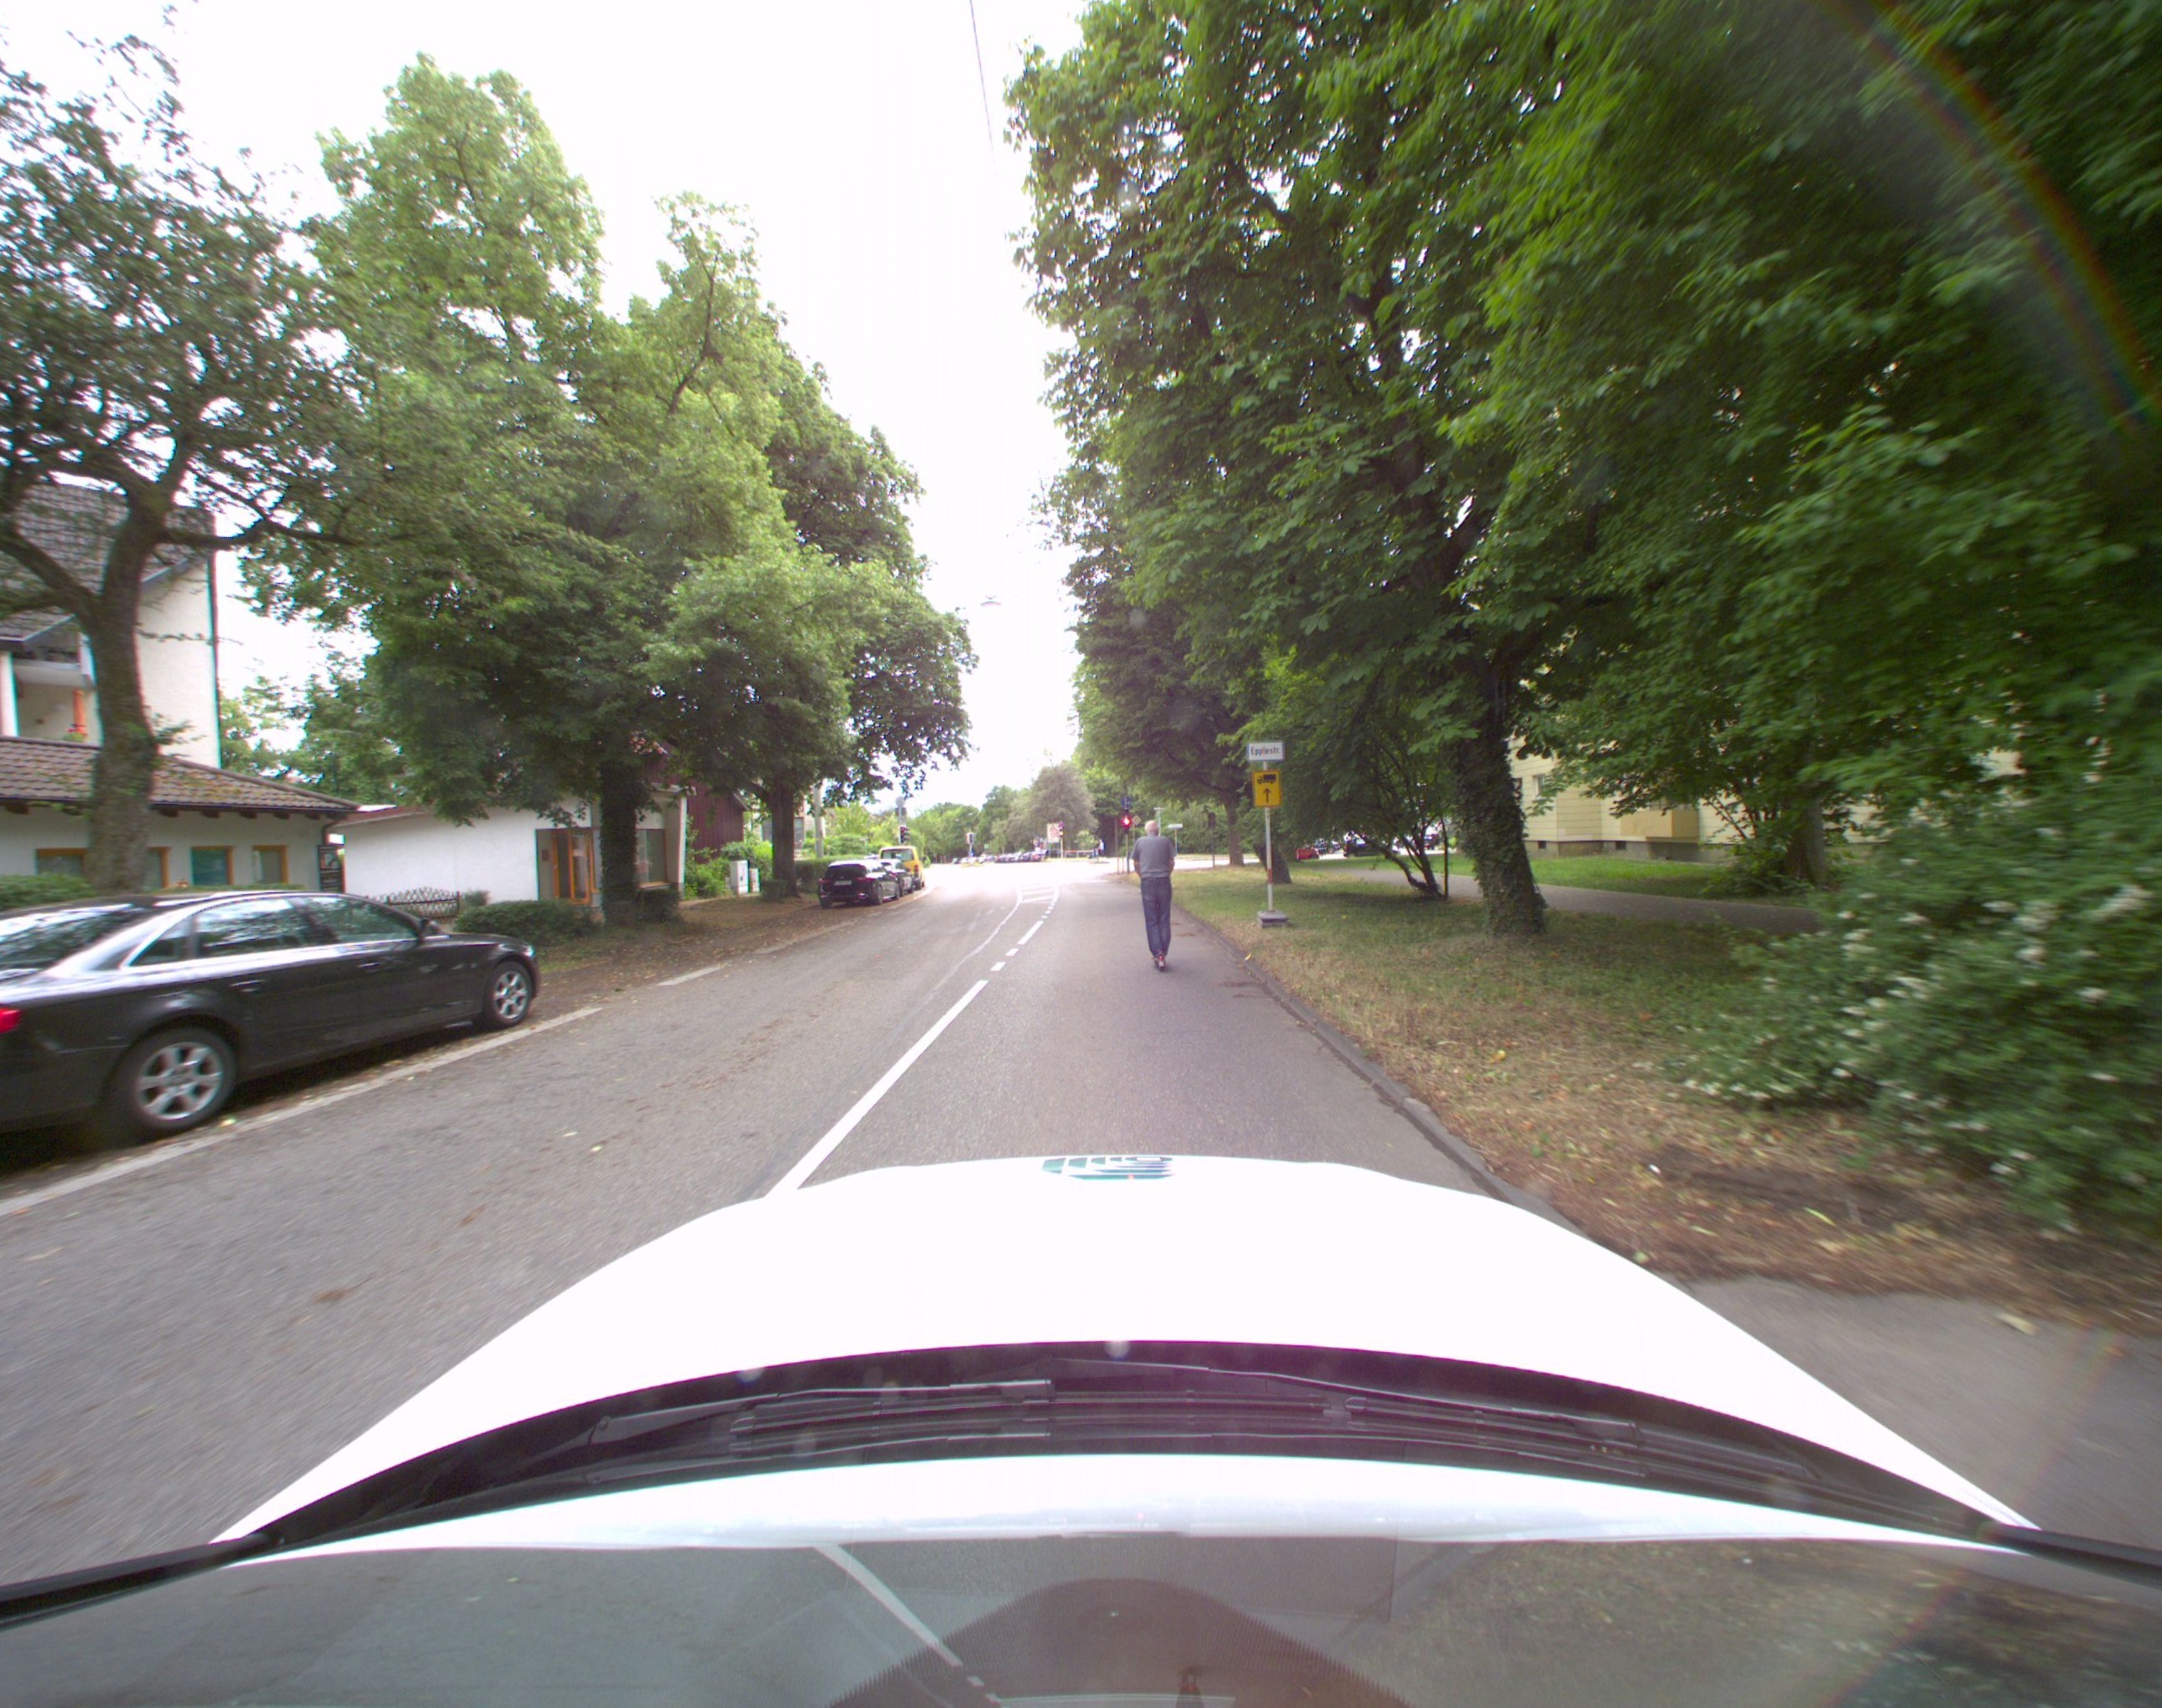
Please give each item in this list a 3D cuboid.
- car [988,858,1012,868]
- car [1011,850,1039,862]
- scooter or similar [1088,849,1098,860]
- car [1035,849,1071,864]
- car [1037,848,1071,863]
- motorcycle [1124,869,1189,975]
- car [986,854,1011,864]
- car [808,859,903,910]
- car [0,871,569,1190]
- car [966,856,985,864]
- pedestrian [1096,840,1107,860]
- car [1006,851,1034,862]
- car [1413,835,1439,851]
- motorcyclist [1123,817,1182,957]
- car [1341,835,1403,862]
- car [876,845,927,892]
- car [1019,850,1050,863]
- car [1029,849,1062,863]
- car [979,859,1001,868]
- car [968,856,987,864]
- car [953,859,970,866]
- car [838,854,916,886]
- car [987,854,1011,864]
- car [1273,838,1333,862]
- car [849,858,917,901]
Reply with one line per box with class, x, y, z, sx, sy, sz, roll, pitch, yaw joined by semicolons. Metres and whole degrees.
car;-13.941;1.585;140.420;3.981;1.510;1.797;-3;0;-6
car;-8.202;0.329;118.248;3.981;1.510;1.797;-3;0;-6
scooter or similar;1.111;0.039;74.872;0.704;1.049;0.791;-3;0;16
car;-3.190;0.238;93.827;3.981;1.510;1.797;-3;0;-6
car;-3.224;0.192;97.406;3.981;1.510;1.797;-3;0;-6
motorcycle;0.936;0.821;10.341;0.671;1.217;1.273;-1;0;-1
car;-13.562;0.783;134.221;3.981;1.510;1.797;-3;0;-6
car;-7.195;0.910;26.507;1.887;1.410;4.550;-3;0;-2
car;-6.157;0.938;6.050;1.789;1.410;4.642;-3;0;-2
car;-22.394;1.185;173.080;3.981;1.510;1.797;-3;0;-6
pedestrian;1.901;-0.352;74.679;0.726;1.761;0.664;-3;0;16
car;-9.018;0.366;120.100;3.981;1.510;1.797;-3;0;-6
car;33.860;-1.091;80.048;2.065;1.510;4.020;-3;0;20
motorcyclist;0.919;0.415;10.626;0.671;1.761;0.638;-1;0;-2
car;20.176;-0.375;56.456;3.952;1.726;1.810;0;3;22
car;-8.167;0.645;37.368;1.856;1.964;4.492;-3;0;-8
car;-6.110;0.285;107.643;3.981;1.510;1.797;-3;0;-6
car;-4.370;0.238;100.900;3.981;1.510;1.797;-3;0;-6
car;-16.928;1.725;151.935;3.981;1.510;1.797;-3;0;-6
car;-23.486;1.321;184.713;3.981;1.510;1.797;-3;0;-6
car;-30.337;2.225;206.639;3.981;1.510;1.797;-3;0;-6
car;-11.355;0.863;45.527;3.985;1.510;1.795;-2;2;-9
car;-13.904;0.799;137.960;3.981;1.510;1.797;-3;0;-6
car;15.719;-0.285;57.764;3.963;1.557;1.806;-1;3;9
car;-7.614;0.935;31.750;1.791;1.416;4.184;-3;0;-4
